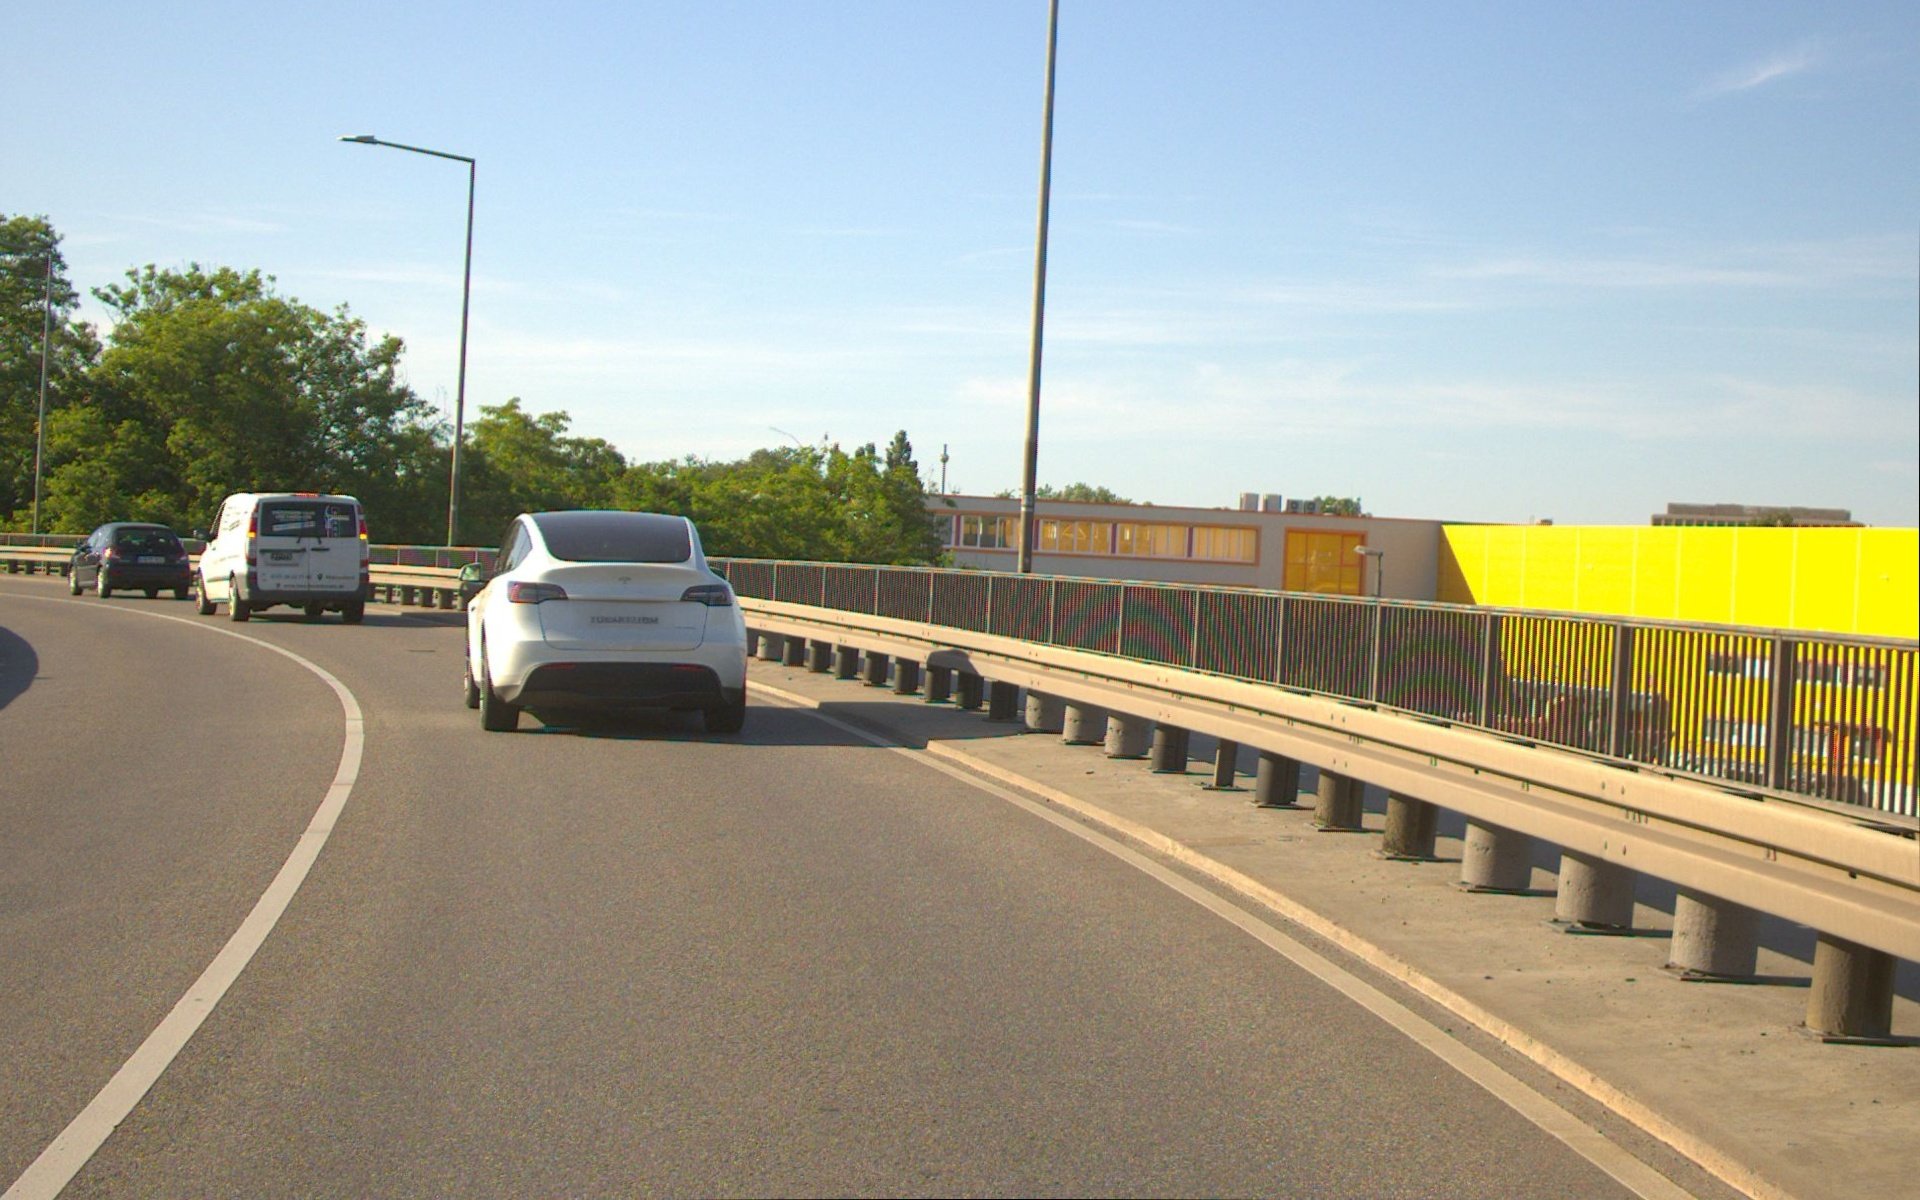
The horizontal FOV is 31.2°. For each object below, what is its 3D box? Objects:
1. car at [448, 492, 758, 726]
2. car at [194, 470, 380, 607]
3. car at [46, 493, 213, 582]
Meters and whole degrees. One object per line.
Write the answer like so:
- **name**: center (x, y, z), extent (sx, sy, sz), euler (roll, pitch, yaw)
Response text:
- **car**: center (-2.802, 0.020, 26.200), extent (1.985, 1.632, 4.064), euler (0, 1, -11)
- **car**: center (-10.062, -0.935, 51.179), extent (2.004, 1.934, 4.469), euler (0, 2, -20)
- **car**: center (-15.728, -1.185, 65.006), extent (1.969, 1.632, 4.000), euler (-1, 1, -31)
